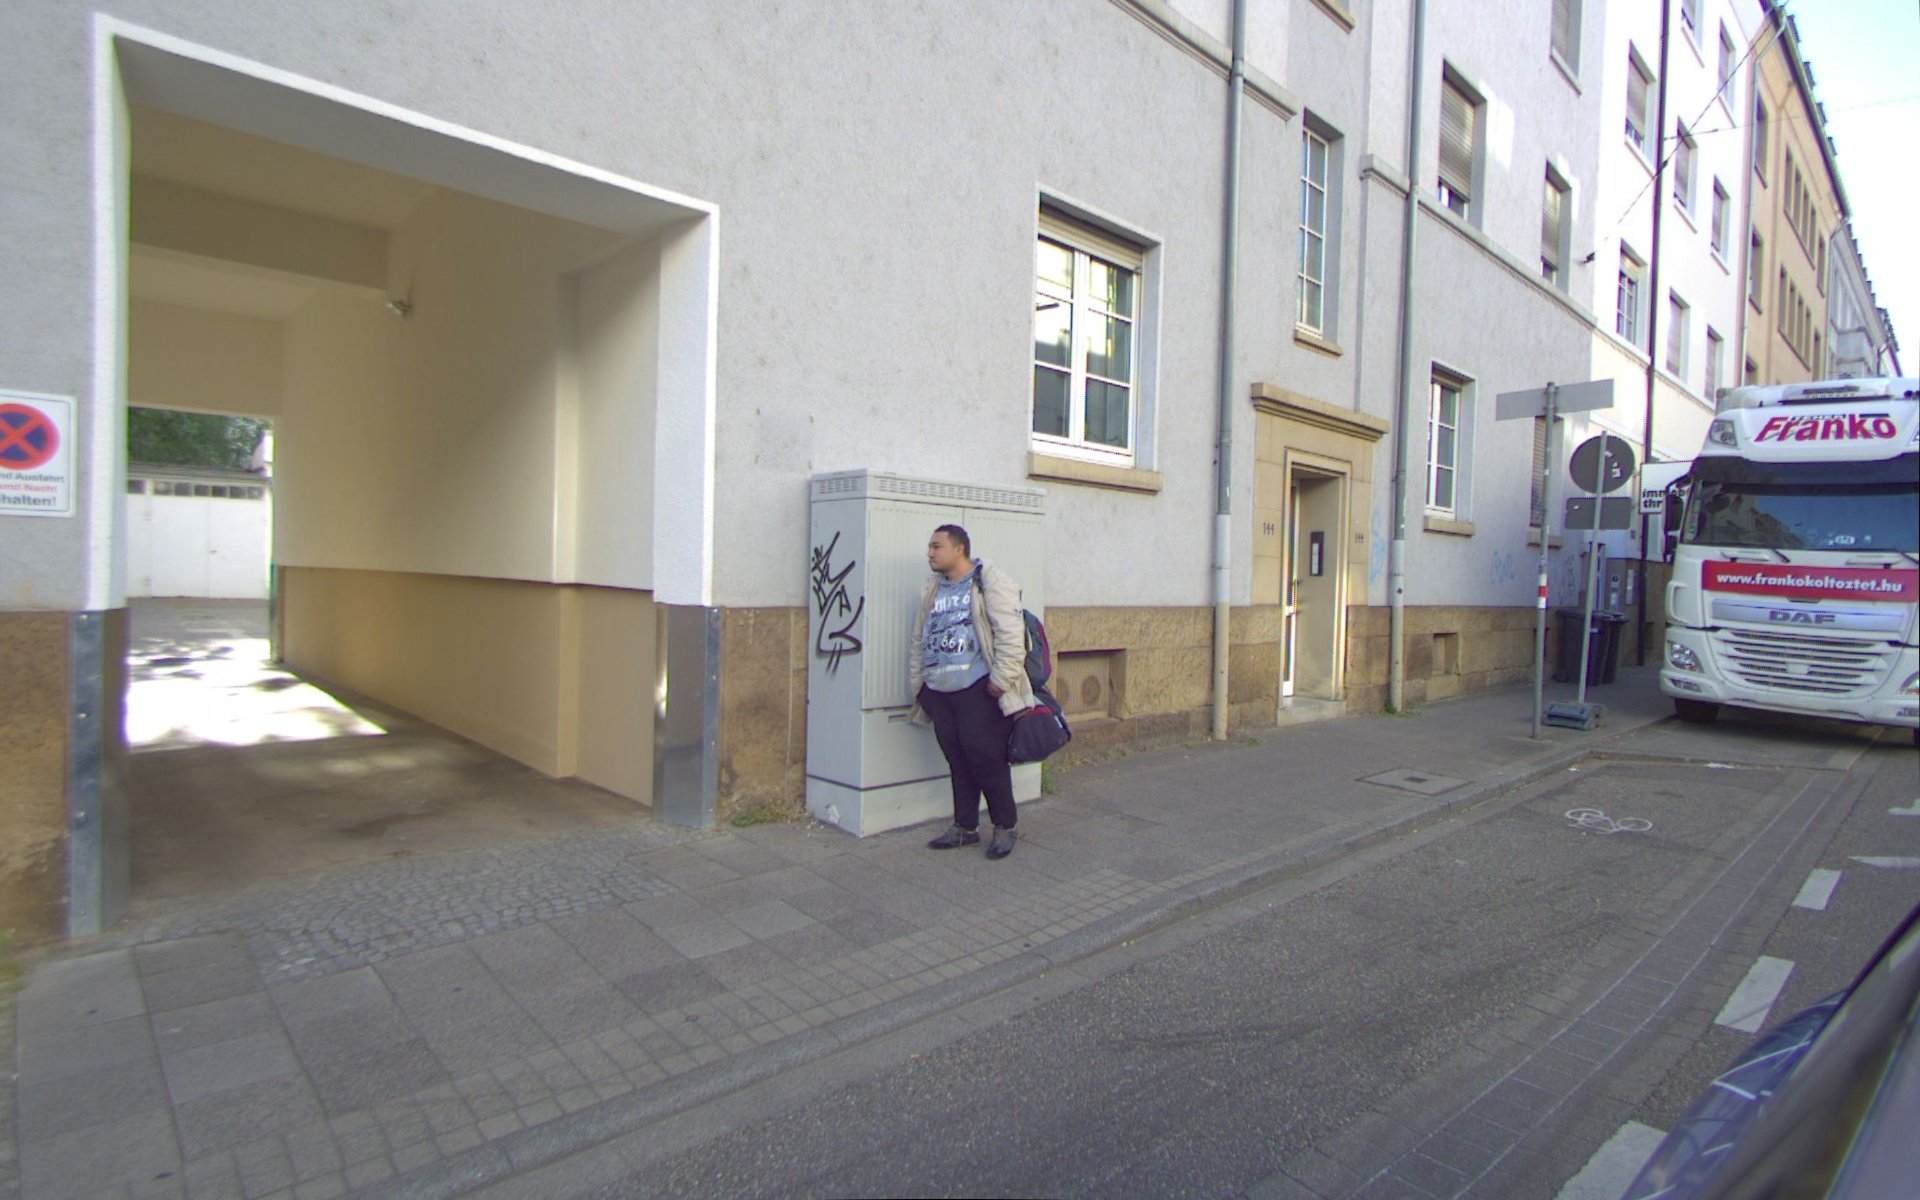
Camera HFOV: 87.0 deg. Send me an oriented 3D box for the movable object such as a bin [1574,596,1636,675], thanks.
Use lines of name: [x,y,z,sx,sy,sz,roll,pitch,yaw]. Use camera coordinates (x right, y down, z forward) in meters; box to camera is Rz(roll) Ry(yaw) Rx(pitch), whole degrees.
movable object such as a bin: [9.563,0.514,15.001,0.658,1.118,0.533,2,2,44]

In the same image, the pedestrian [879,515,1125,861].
pedestrian: [0.208,0.376,5.138,0.854,1.552,0.827,0,3,-42]

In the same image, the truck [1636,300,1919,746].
truck: [12.647,-0.755,13.873,11.578,4.123,2.864,0,2,-43]

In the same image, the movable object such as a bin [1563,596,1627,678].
movable object such as a bin: [9.153,0.520,14.587,0.658,1.118,0.533,2,2,44]
